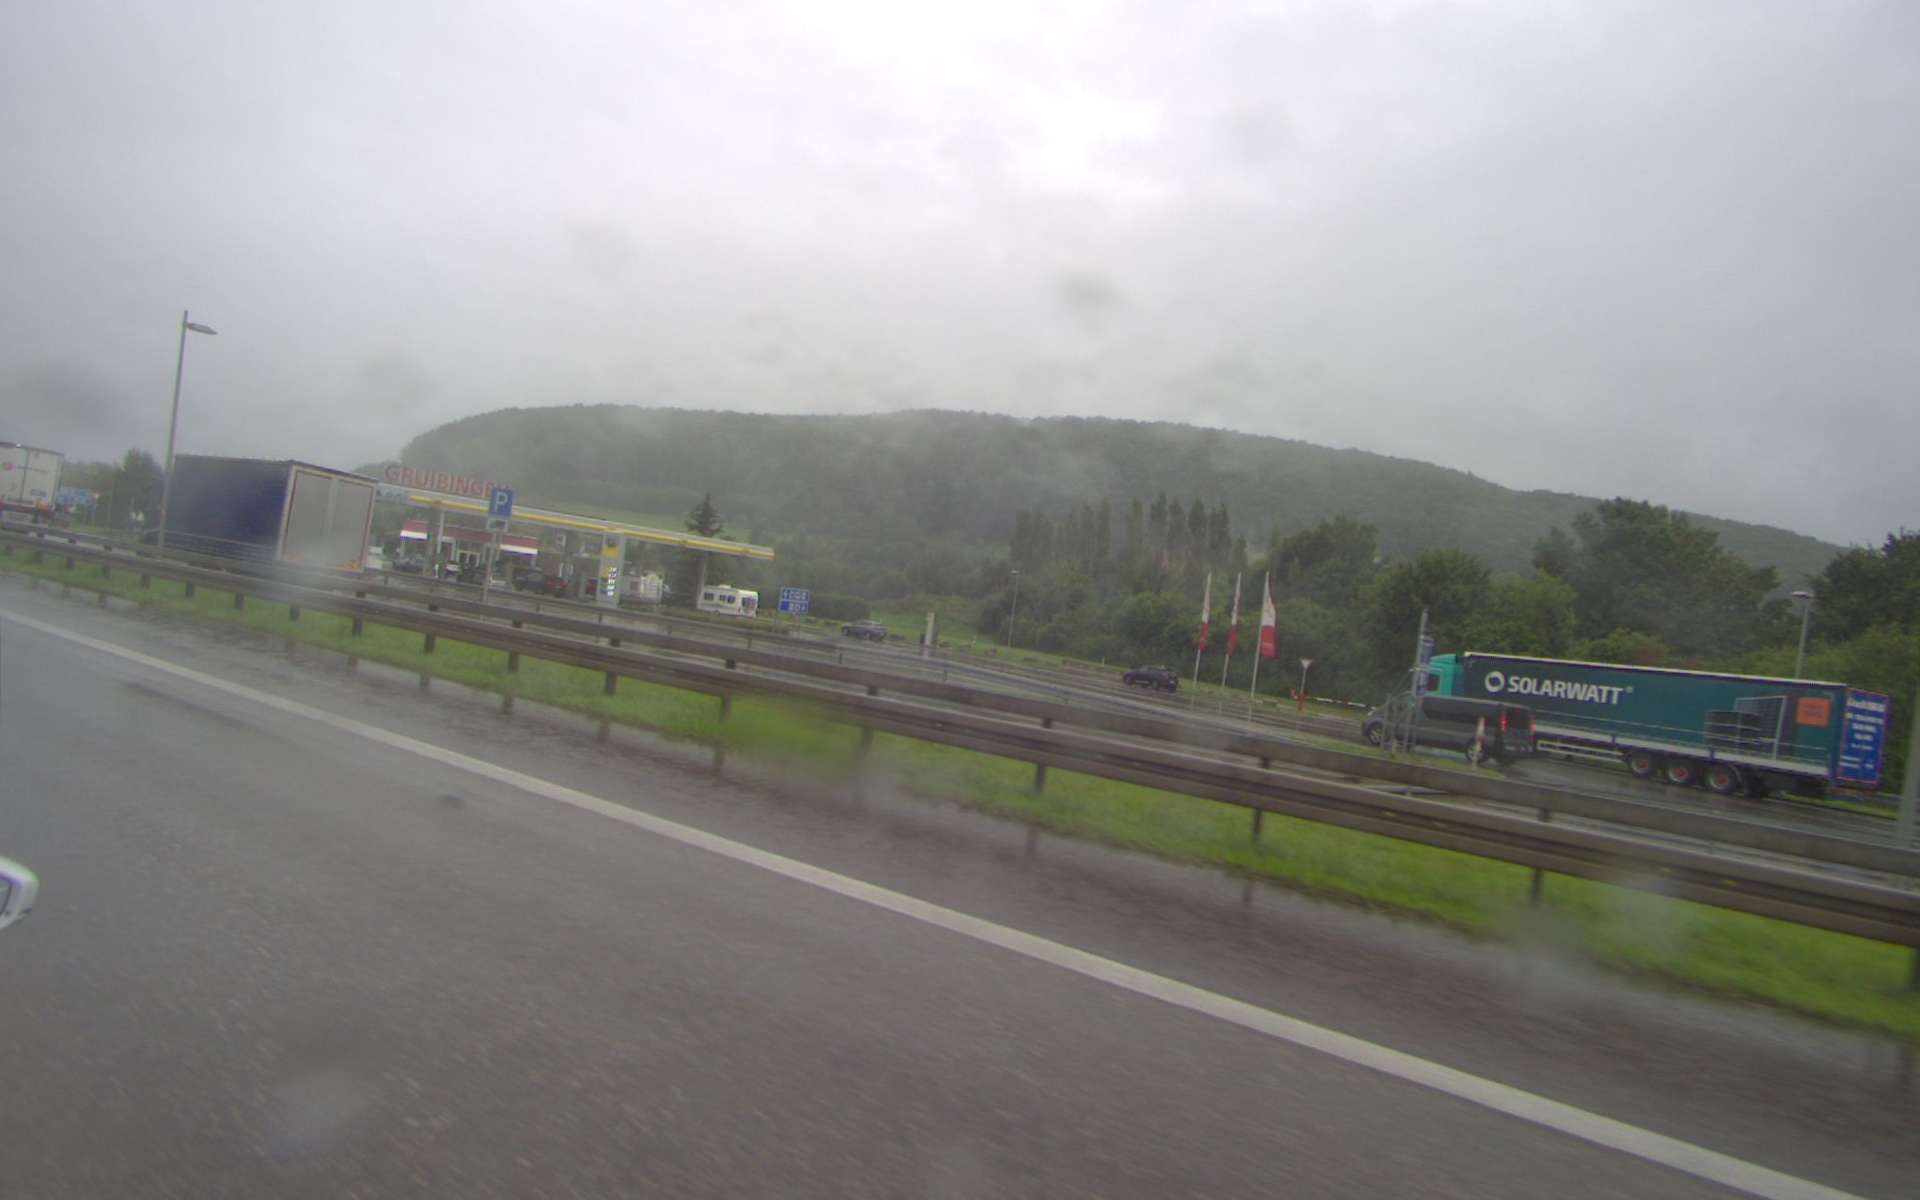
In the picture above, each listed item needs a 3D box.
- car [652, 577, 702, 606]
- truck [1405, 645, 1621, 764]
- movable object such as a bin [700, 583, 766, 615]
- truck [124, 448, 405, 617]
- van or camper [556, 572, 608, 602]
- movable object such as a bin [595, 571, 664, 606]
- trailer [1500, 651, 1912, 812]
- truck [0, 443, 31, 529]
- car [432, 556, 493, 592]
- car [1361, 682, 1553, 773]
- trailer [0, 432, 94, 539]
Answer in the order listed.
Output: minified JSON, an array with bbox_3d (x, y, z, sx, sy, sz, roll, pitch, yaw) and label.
[{"bbox_3d":[-25.218,-0.770,89.663,3.934,2.037,1.998,6,-2,32],"label":"car"},{"bbox_3d":[22.911,4.208,42.257,2.723,3.911,7.494,8,-2,-24],"label":"truck"},{"bbox_3d":[-19.602,-0.120,86.805,5.294,2.037,2.171,6,-2,32],"label":"movable object such as a bin"},{"bbox_3d":[-23.514,-2.396,33.718,10.868,4.452,3.408,7,-2,33],"label":"truck"},{"bbox_3d":[-32.291,-1.126,85.941,3.934,2.037,1.997,6,-2,32],"label":"van or camper"},{"bbox_3d":[-27.237,-0.957,82.830,5.630,2.214,1.998,6,-2,32],"label":"movable object such as a bin"},{"bbox_3d":[25.692,4.310,35.969,2.759,3.945,11.687,8,-2,-24],"label":"trailer"},{"bbox_3d":[-53.306,-6.389,53.633,7.691,4.268,3.532,6,-2,34],"label":"truck"},{"bbox_3d":[-35.792,-1.900,72.307,3.934,2.037,1.964,6,-2,32],"label":"car"},{"bbox_3d":[15.792,4.019,32.261,1.983,2.037,5.006,8,-1,-36],"label":"car"},{"bbox_3d":[-47.348,-5.744,49.668,11.728,4.310,3.522,6,-2,33],"label":"trailer"}]
